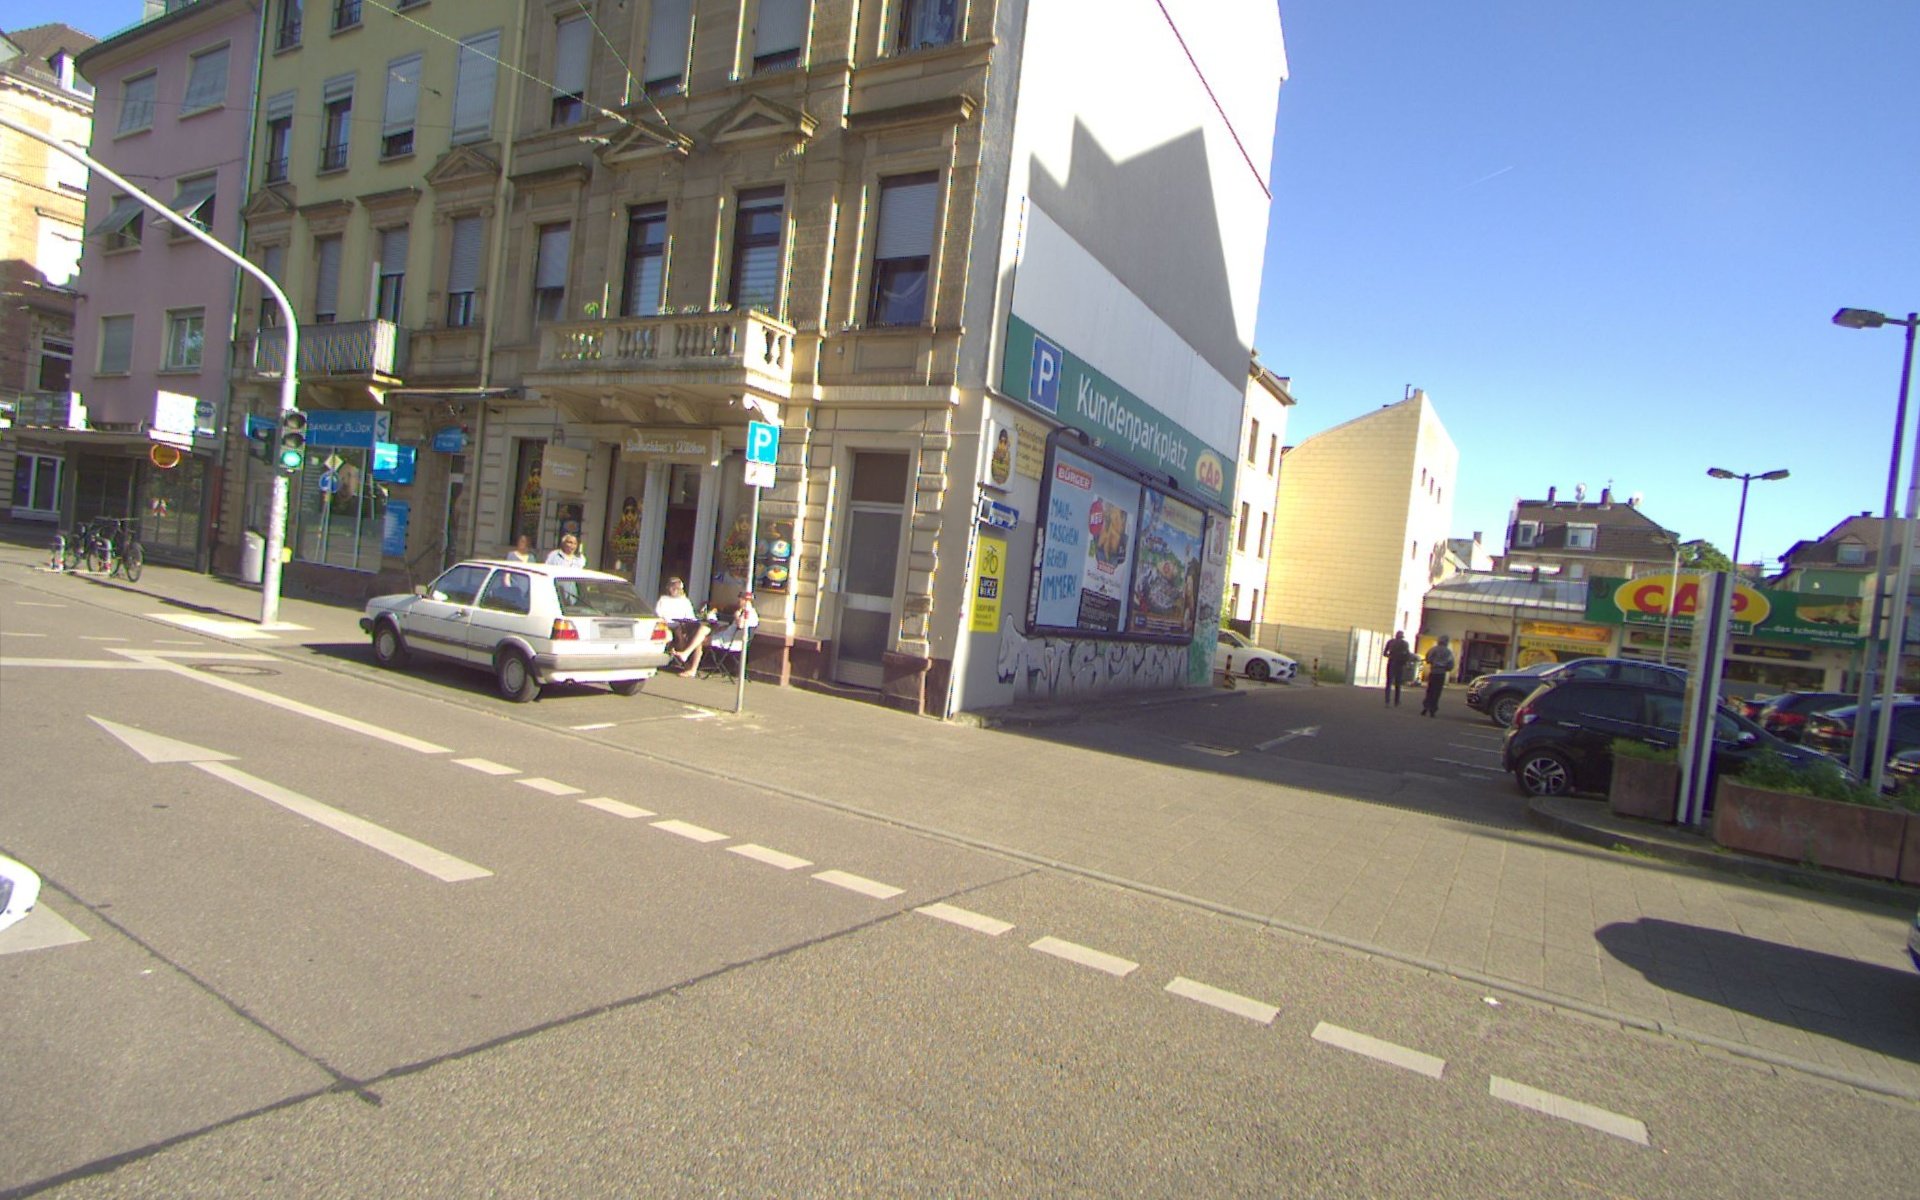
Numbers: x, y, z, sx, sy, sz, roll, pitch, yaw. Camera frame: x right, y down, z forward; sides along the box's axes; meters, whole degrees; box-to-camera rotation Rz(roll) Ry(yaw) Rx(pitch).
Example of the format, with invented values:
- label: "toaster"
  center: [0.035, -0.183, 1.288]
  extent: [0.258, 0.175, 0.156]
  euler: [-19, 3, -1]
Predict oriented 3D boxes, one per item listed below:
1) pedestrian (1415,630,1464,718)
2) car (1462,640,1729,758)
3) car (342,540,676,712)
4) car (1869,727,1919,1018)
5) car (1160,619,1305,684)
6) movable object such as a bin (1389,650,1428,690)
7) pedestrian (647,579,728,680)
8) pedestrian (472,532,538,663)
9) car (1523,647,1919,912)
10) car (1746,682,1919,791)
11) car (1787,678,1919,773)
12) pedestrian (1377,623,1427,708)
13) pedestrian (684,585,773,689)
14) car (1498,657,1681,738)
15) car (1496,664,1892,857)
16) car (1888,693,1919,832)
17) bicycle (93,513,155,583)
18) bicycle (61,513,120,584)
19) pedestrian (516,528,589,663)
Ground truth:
- label: "pedestrian"
  center: [10.324, 1.584, 21.660]
  extent: [0.749, 1.778, 0.513]
  euler: [7, 1, 26]
- label: "car"
  center: [12.861, 1.948, 20.653]
  extent: [4.309, 1.687, 1.756]
  euler: [7, 1, 32]
- label: "car"
  center: [-5.313, 0.208, 11.703]
  extent: [3.937, 1.435, 1.562]
  euler: [7, 4, 32]
- label: "car"
  center: [7.379, 1.773, 4.395]
  extent: [4.656, 1.507, 1.832]
  euler: [7, 3, 32]
- label: "car"
  center: [8.484, 1.588, 31.398]
  extent: [3.933, 1.482, 1.756]
  euler: [7, 1, 32]
- label: "movable object such as a bin"
  center: [19.086, 2.985, 42.790]
  extent: [1.258, 1.527, 1.174]
  euler: [7, 1, 31]
- label: "pedestrian"
  center: [-3.752, 0.401, 13.865]
  extent: [0.598, 1.299, 0.798]
  euler: [7, 3, 29]
- label: "pedestrian"
  center: [-6.225, -0.023, 13.783]
  extent: [0.382, 1.730, 0.550]
  euler: [8, 2, 34]
- label: "car"
  center: [7.427, 1.573, 9.099]
  extent: [3.835, 1.667, 1.651]
  euler: [9, 3, 28]
- label: "car"
  center: [16.815, 2.545, 18.119]
  extent: [3.872, 1.564, 1.543]
  euler: [7, 1, 31]
- label: "car"
  center: [19.234, 2.627, 20.037]
  extent: [3.872, 1.601, 1.658]
  euler: [7, 1, 31]
- label: "pedestrian"
  center: [10.318, 1.526, 23.468]
  extent: [0.750, 1.864, 0.746]
  euler: [7, 1, 34]
- label: "pedestrian"
  center: [-3.129, 0.482, 13.640]
  extent: [0.644, 1.299, 0.901]
  euler: [7, 3, 26]
- label: "car"
  center: [16.908, 2.575, 27.200]
  extent: [3.933, 1.538, 1.723]
  euler: [7, 1, 31]
- label: "car"
  center: [8.181, 1.716, 11.614]
  extent: [3.336, 1.504, 1.561]
  euler: [7, 0, 28]
- label: "car"
  center: [13.831, 2.240, 11.742]
  extent: [3.931, 1.714, 1.747]
  euler: [7, 0, 29]
- label: "bicycle"
  center: [-15.874, -0.997, 19.088]
  extent: [1.731, 1.173, 0.448]
  euler: [7, 1, 38]
- label: "bicycle"
  center: [-16.144, -0.973, 18.665]
  extent: [1.782, 1.155, 0.414]
  euler: [7, 0, 38]
- label: "pedestrian"
  center: [-5.782, -0.066, 14.270]
  extent: [0.522, 1.831, 0.673]
  euler: [7, 4, 31]
